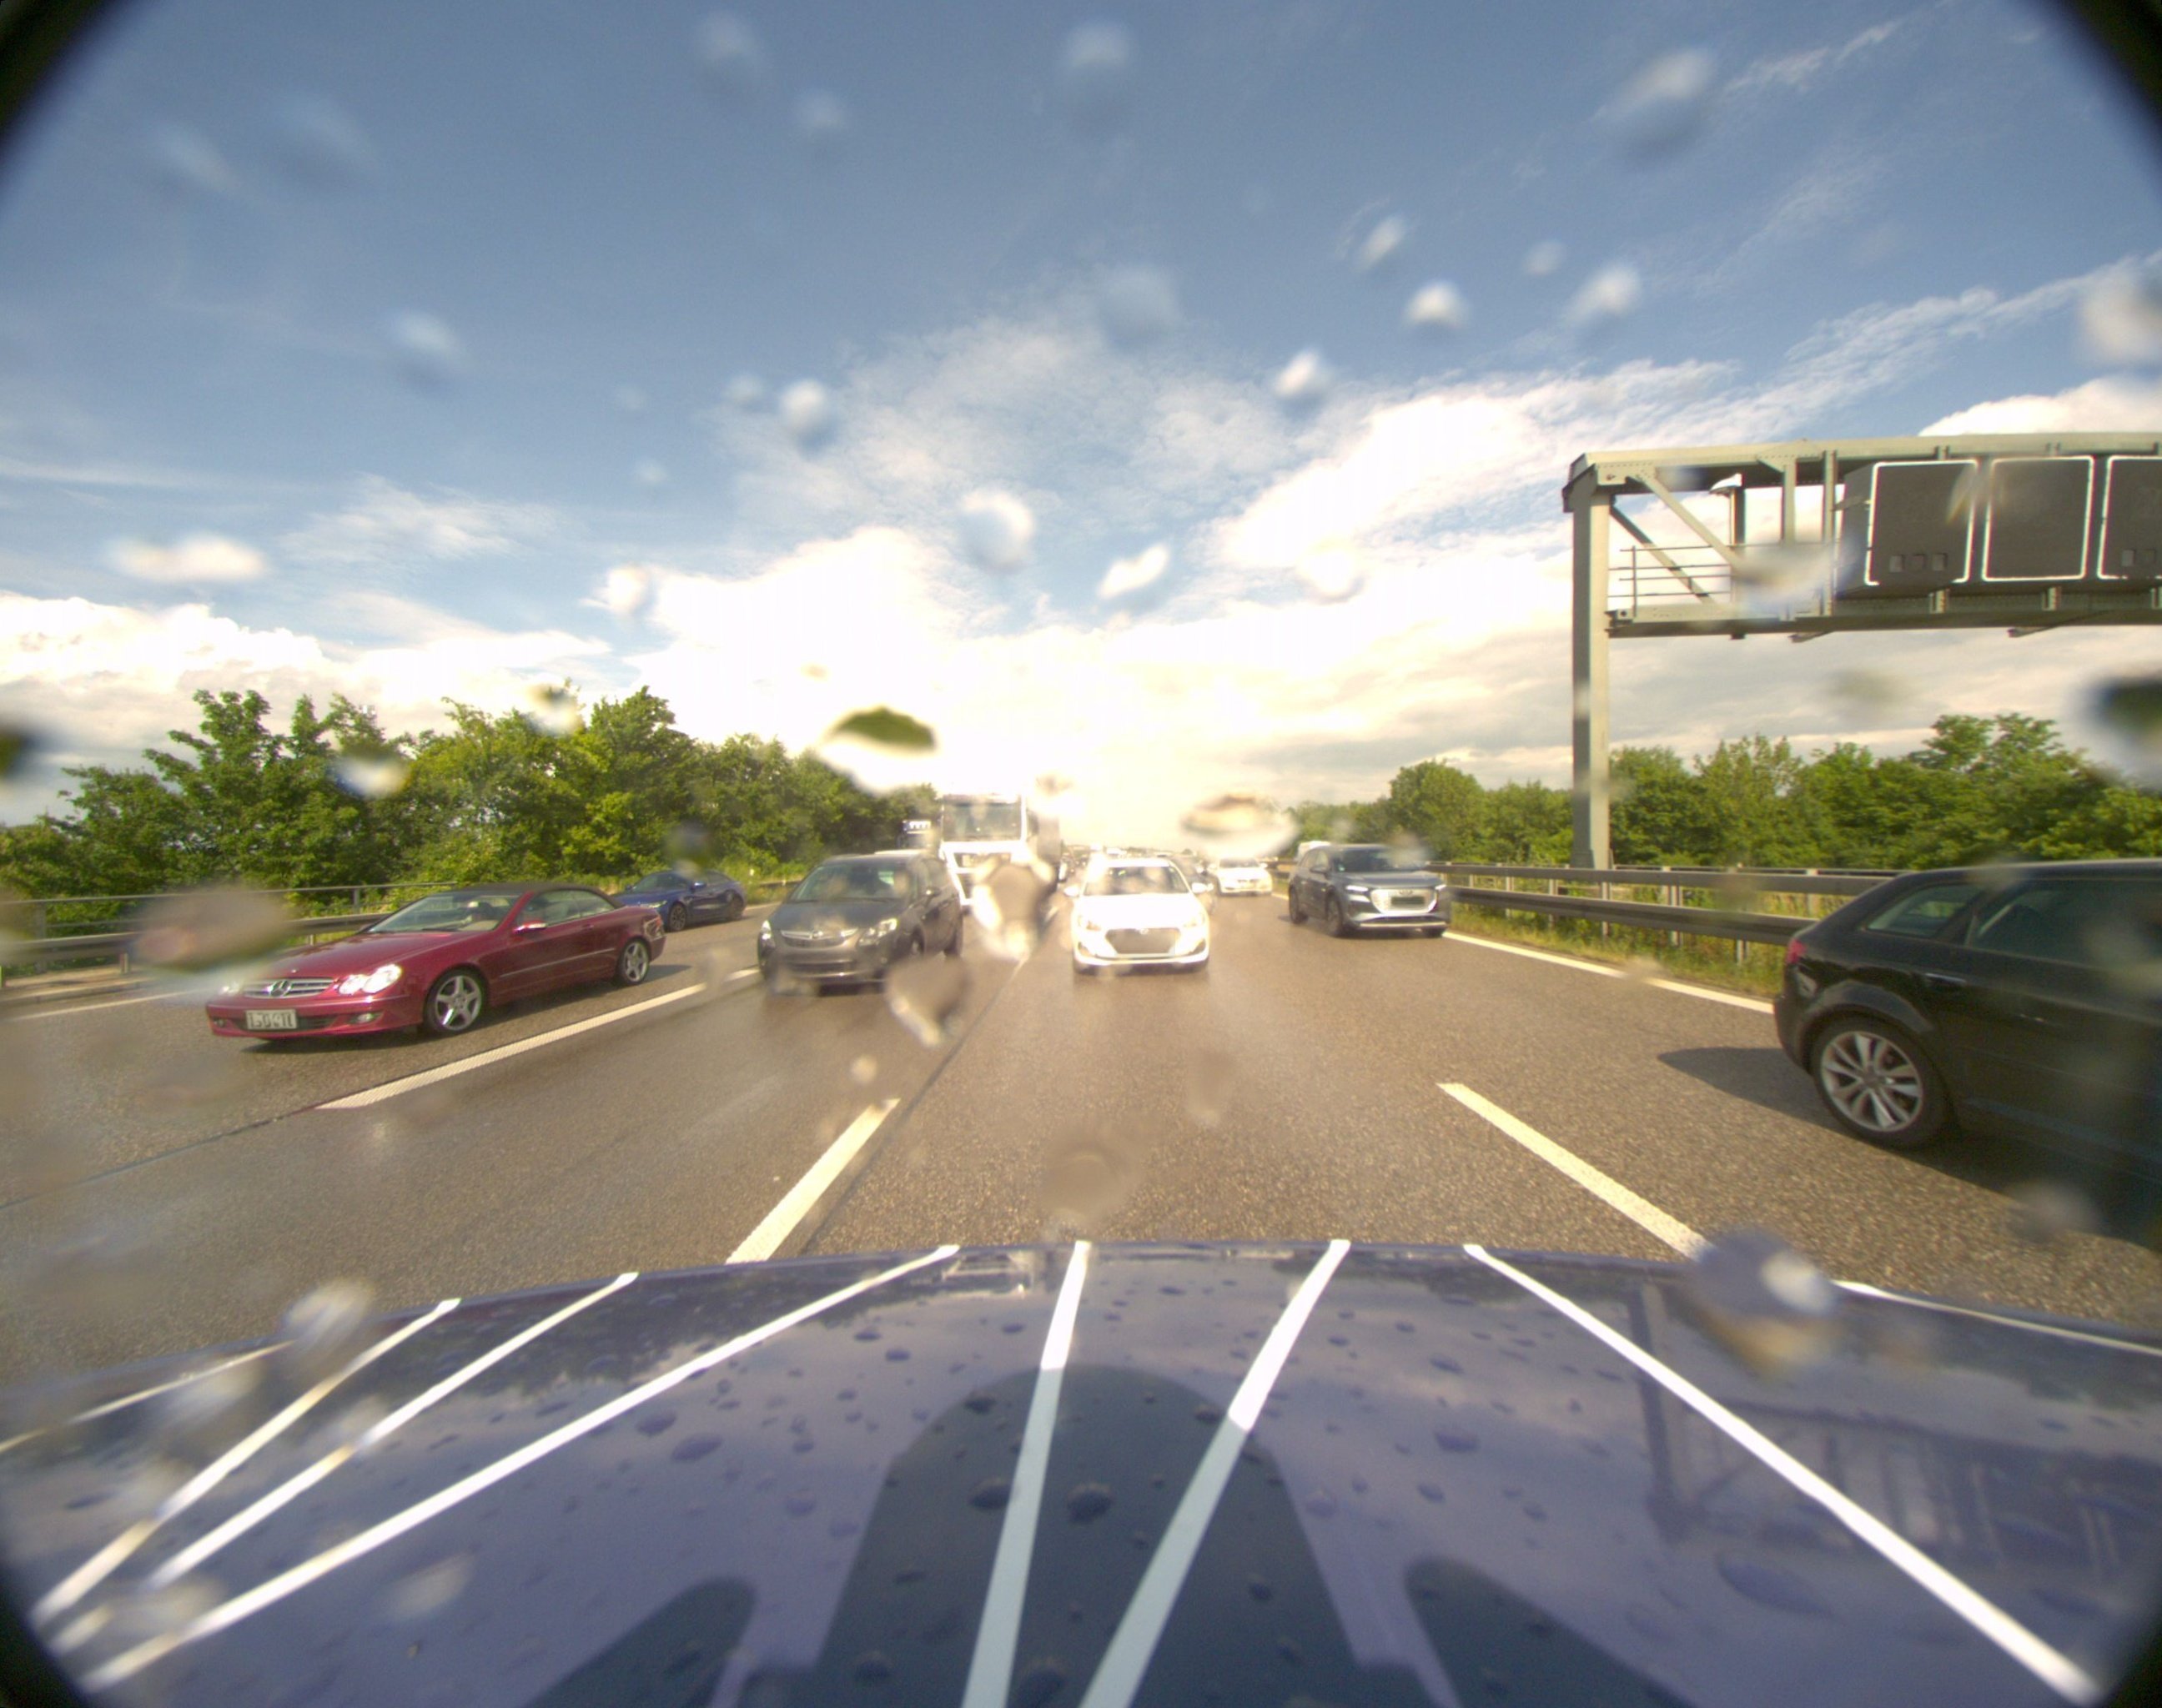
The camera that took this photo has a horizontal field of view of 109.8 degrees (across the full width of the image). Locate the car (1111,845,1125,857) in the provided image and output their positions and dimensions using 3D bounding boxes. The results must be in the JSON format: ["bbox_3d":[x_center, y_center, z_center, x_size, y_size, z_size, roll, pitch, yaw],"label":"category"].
[{"bbox_3d":[5.702,-0.530,117.897,1.998,1.687,3.999,-3,1,1],"label":"car"}]

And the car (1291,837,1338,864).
[{"bbox_3d":[18.234,-0.308,59.626,1.998,2.002,5.558,-1,0,1],"label":"car"}]

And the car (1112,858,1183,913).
[{"bbox_3d":[1.799,0.839,21.753,1.728,1.330,4.287,-1,0,1],"label":"car"}]

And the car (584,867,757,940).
[{"bbox_3d":[-10.096,1.139,19.166,1.791,1.454,4.506,-2,1,1],"label":"car"}]

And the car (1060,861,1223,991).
[{"bbox_3d":[0.768,0.875,11.283,1.886,1.446,4.548,-1,0,1],"label":"car"}]

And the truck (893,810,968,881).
[{"bbox_3d":[-8.903,-0.521,45.757,3.112,3.931,5.866,-2,1,1],"label":"truck"}]

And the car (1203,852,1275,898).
[{"bbox_3d":[5.507,0.691,26.898,1.771,1.371,3.999,-1,1,1],"label":"car"}]

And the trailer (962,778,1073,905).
[{"bbox_3d":[-2.184,-0.468,30.974,2.790,4.083,11.539,-2,1,3],"label":"trailer"}]

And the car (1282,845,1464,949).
[{"bbox_3d":[5.168,0.663,14.108,1.875,1.597,4.229,-2,1,2],"label":"car"}]

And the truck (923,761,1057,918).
[{"bbox_3d":[-2.555,-0.410,24.012,2.817,4.083,7.446,-2,1,3],"label":"truck"}]

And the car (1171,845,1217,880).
[{"bbox_3d":[6.298,0.444,42.872,1.998,1.739,3.999,-3,1,1],"label":"car"}]

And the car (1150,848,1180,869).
[{"bbox_3d":[6.731,0.315,61.284,1.998,1.471,3.999,-3,1,1],"label":"car"}]

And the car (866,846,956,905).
[{"bbox_3d":[-5.990,0.692,27.501,1.955,1.875,5.167,-2,1,1],"label":"car"}]

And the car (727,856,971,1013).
[{"bbox_3d":[-2.852,0.891,10.488,1.883,1.638,4.396,-1,0,1],"label":"car"}]

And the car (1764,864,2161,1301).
[{"bbox_3d":[4.603,0.820,2.116,1.771,1.417,4.139,-2,1,2],"label":"car"}]

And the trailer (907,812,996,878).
[{"bbox_3d":[-8.744,-0.653,54.127,3.112,3.931,16.339,-2,1,1],"label":"trailer"}]

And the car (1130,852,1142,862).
[{"bbox_3d":[10.374,0.603,143.477,1.998,1.687,3.999,-3,1,1],"label":"car"}]

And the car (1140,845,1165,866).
[{"bbox_3d":[6.637,0.117,71.025,1.998,1.687,3.999,-3,1,1],"label":"car"}]

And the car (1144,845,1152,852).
[{"bbox_3d":[17.711,-1.502,201.226,1.998,1.768,4.461,-2,0,2],"label":"car"}]

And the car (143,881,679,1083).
[{"bbox_3d":[-6.616,1.125,8.397,1.756,1.402,4.511,-2,0,2],"label":"car"}]

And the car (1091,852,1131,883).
[{"bbox_3d":[1.583,0.682,40.818,1.998,1.477,3.999,-2,1,1],"label":"car"}]
